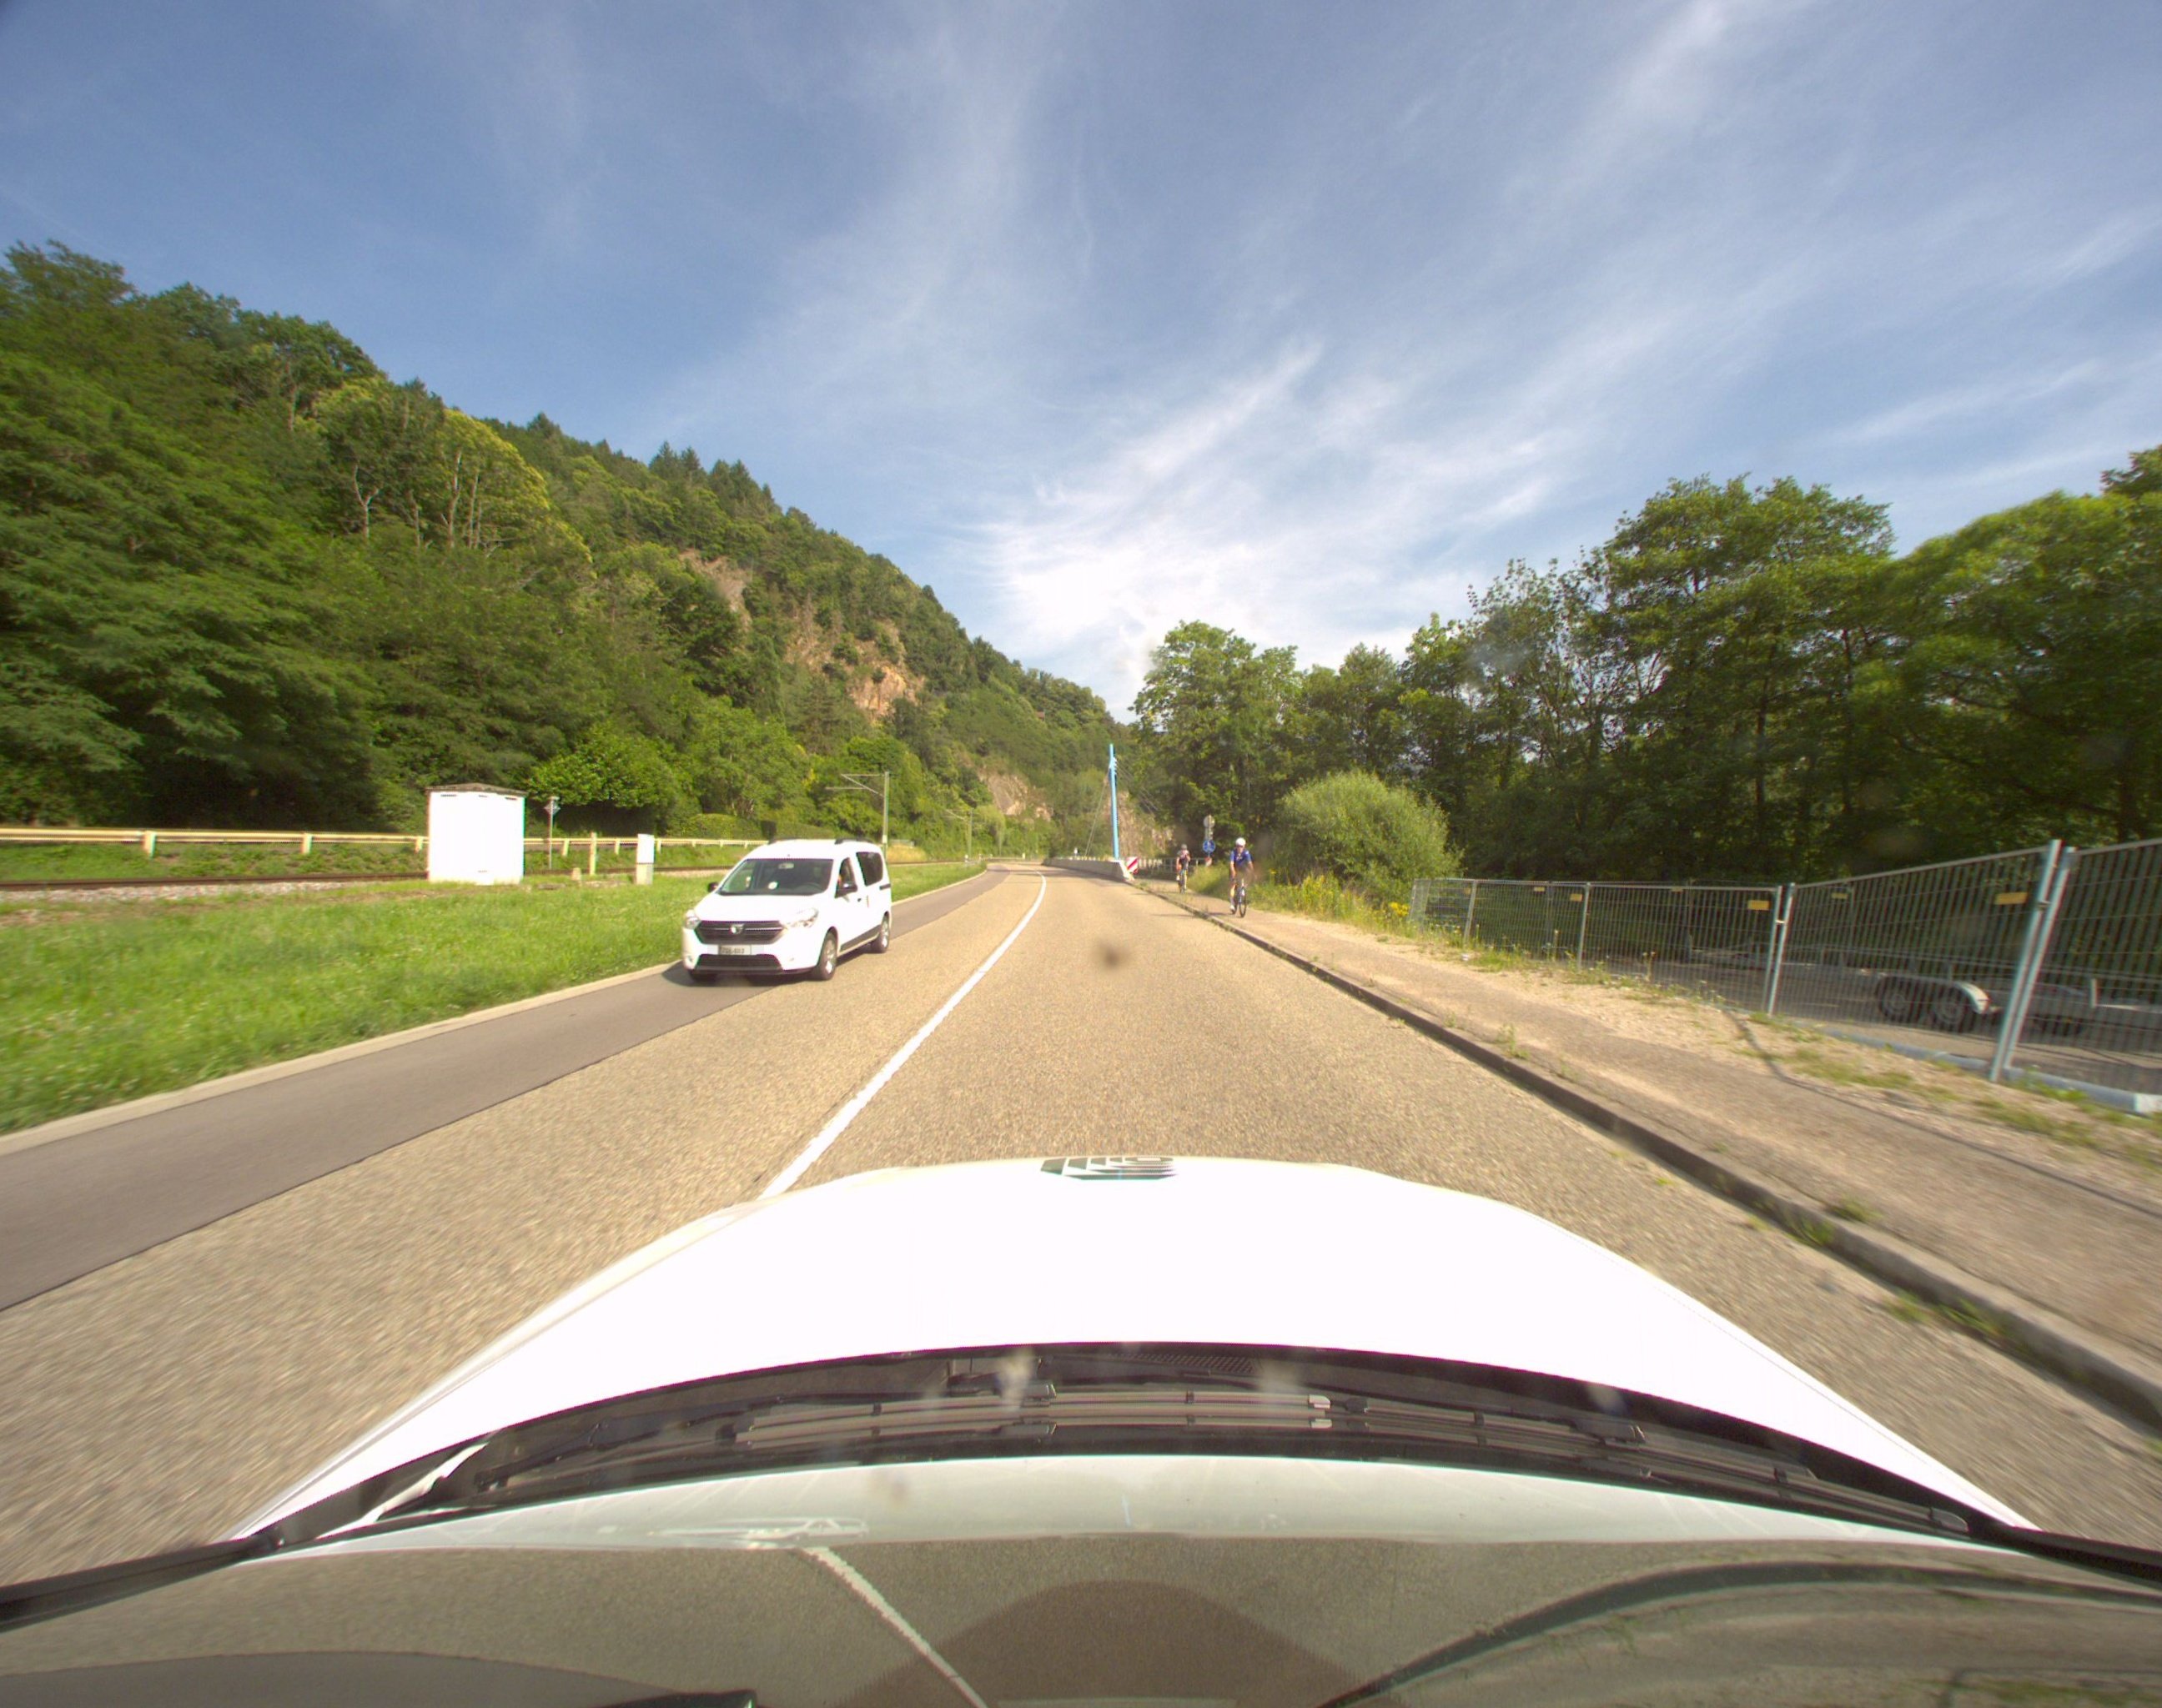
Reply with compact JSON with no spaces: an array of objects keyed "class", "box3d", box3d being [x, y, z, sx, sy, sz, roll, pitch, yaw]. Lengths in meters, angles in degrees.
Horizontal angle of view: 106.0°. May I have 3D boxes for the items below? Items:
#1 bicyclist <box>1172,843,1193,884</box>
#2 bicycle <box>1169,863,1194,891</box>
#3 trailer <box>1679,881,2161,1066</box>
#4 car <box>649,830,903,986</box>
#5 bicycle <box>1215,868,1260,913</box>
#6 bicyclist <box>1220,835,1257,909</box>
[{"class":"bicyclist","box3d":[3.604,0.325,28.990,0.591,1.401,0.761,3,0,-2]},{"class":"bicycle","box3d":[3.579,0.799,29.027,0.598,0.916,1.847,3,0,-1]},{"class":"trailer","box3d":[14.028,1.559,11.693,2.382,2.014,11.496,2,-1,0]},{"class":"car","box3d":[-3.999,0.606,11.639,1.864,1.781,4.599,0,0,0]},{"class":"bicycle","box3d":[3.572,0.813,18.749,0.646,0.942,1.847,1,0,-1]},{"class":"bicyclist","box3d":[3.596,0.399,18.647,0.639,1.654,0.808,1,0,-2]}]
